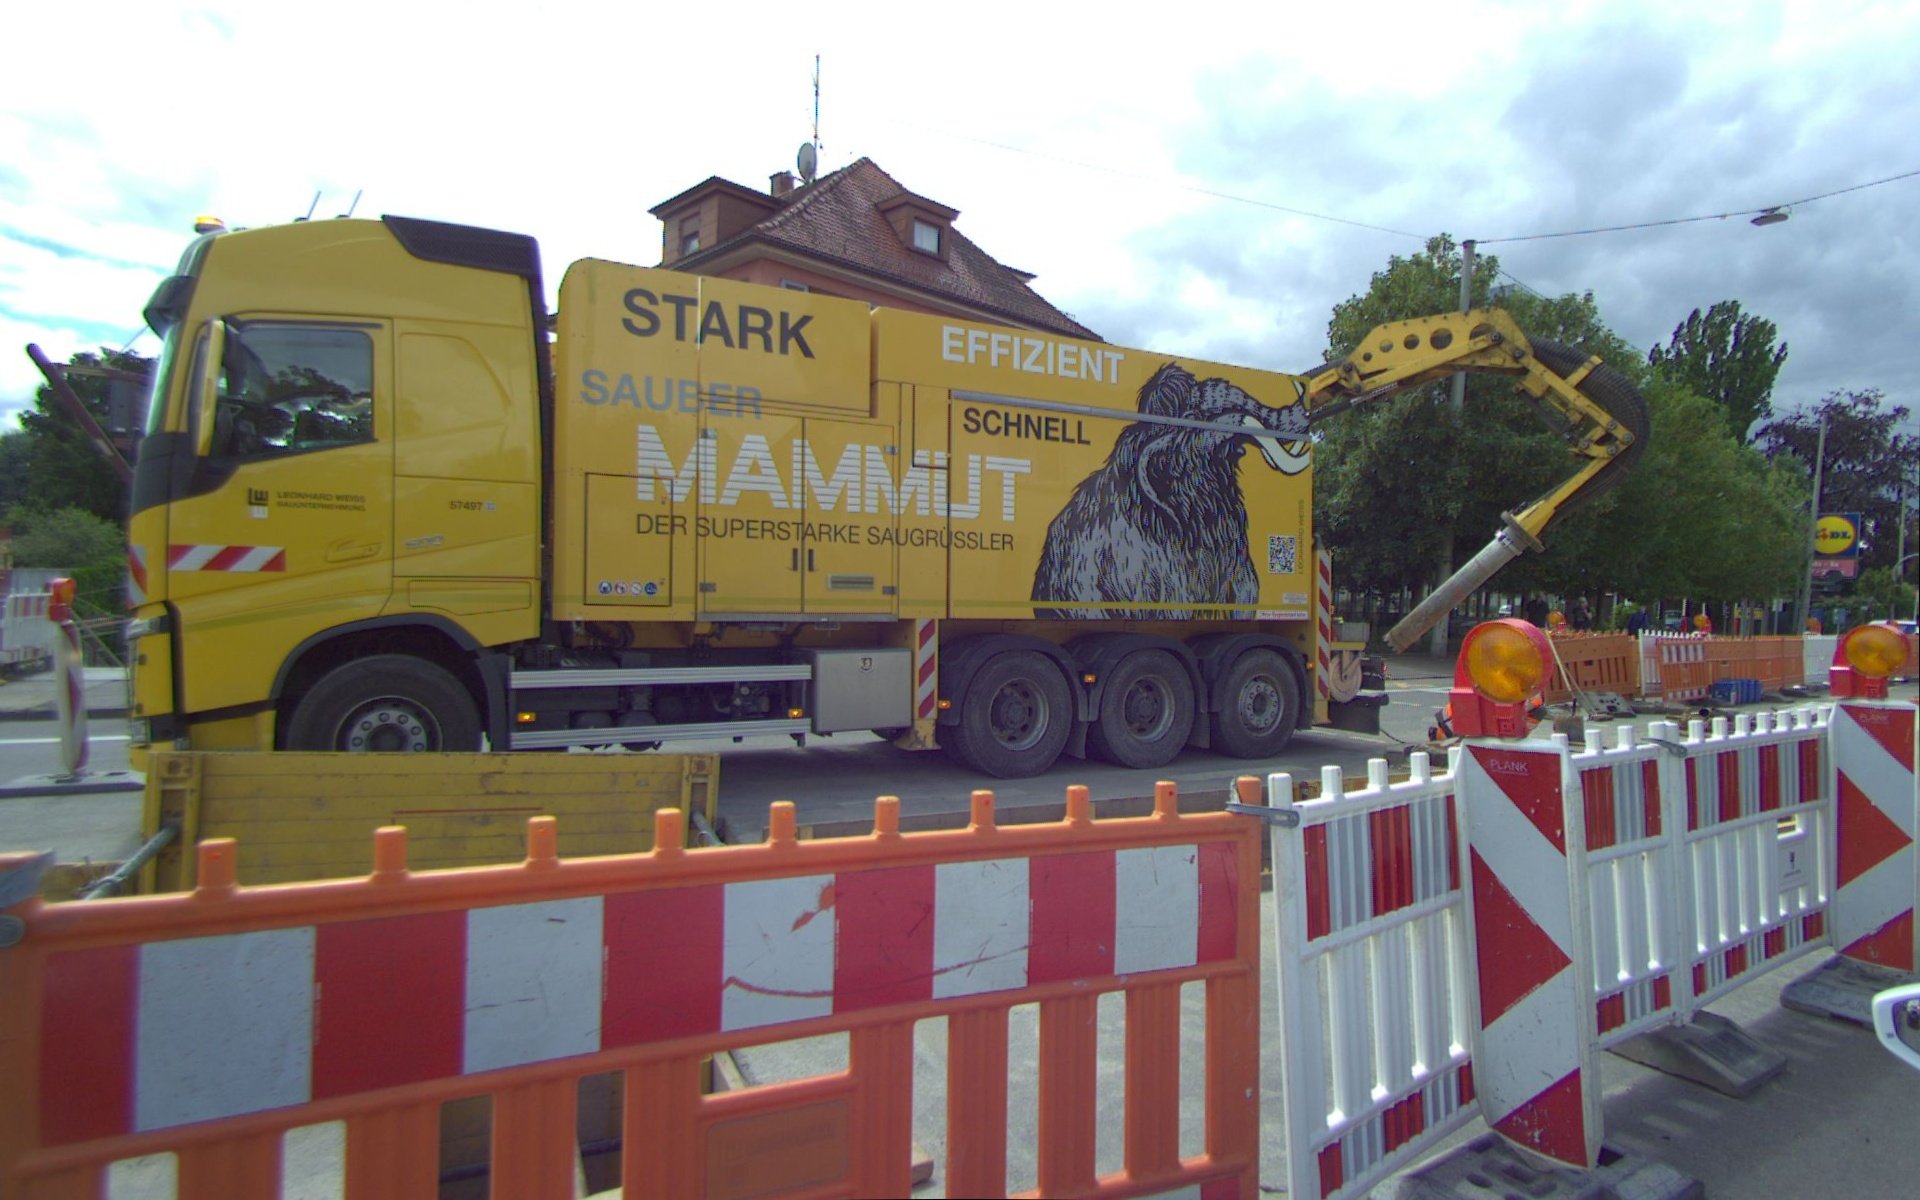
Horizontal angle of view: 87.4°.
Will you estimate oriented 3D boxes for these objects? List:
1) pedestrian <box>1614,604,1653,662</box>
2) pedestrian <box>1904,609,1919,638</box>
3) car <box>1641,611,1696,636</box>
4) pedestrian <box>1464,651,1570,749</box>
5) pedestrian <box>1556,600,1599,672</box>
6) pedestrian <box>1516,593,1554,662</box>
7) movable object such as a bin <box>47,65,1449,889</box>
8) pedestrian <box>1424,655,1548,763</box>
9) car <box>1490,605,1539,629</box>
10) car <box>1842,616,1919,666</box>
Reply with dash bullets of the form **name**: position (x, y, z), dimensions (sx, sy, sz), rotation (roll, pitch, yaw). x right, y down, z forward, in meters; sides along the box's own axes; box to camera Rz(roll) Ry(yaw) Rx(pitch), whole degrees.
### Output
- **pedestrian**: position (19.633, 0.947, 29.275), dimensions (0.824, 1.624, 0.745), rotation (1, 1, -44)
- **pedestrian**: position (61.974, 1.513, 65.346), dimensions (0.701, 1.879, 0.675), rotation (1, 1, -41)
- **car**: position (44.608, 1.460, 63.222), dimensions (3.970, 1.472, 1.975), rotation (1, 0, -42)
- **pedestrian**: position (6.116, 1.085, 11.053), dimensions (0.778, 1.004, 0.642), rotation (1, 0, -3)
- **pedestrian**: position (16.302, 0.945, 26.519), dimensions (0.612, 1.872, 0.695), rotation (1, 1, -13)
- **pedestrian**: position (15.871, 0.748, 27.749), dimensions (0.612, 1.872, 0.625), rotation (1, 1, -13)
- **movable object such as a bin**: position (-0.446, -0.558, 8.936), dimensions (10.979, 4.278, 2.581), rotation (1, 0, -28)
- **pedestrian**: position (5.371, 1.093, 10.295), dimensions (0.798, 1.004, 0.791), rotation (1, 0, -13)
- **car**: position (38.842, 1.202, 70.312), dimensions (1.973, 1.573, 3.976), rotation (2, 0, 44)
- **car**: position (30.750, 1.309, 33.166), dimensions (3.967, 1.472, 1.839), rotation (1, 2, -40)
